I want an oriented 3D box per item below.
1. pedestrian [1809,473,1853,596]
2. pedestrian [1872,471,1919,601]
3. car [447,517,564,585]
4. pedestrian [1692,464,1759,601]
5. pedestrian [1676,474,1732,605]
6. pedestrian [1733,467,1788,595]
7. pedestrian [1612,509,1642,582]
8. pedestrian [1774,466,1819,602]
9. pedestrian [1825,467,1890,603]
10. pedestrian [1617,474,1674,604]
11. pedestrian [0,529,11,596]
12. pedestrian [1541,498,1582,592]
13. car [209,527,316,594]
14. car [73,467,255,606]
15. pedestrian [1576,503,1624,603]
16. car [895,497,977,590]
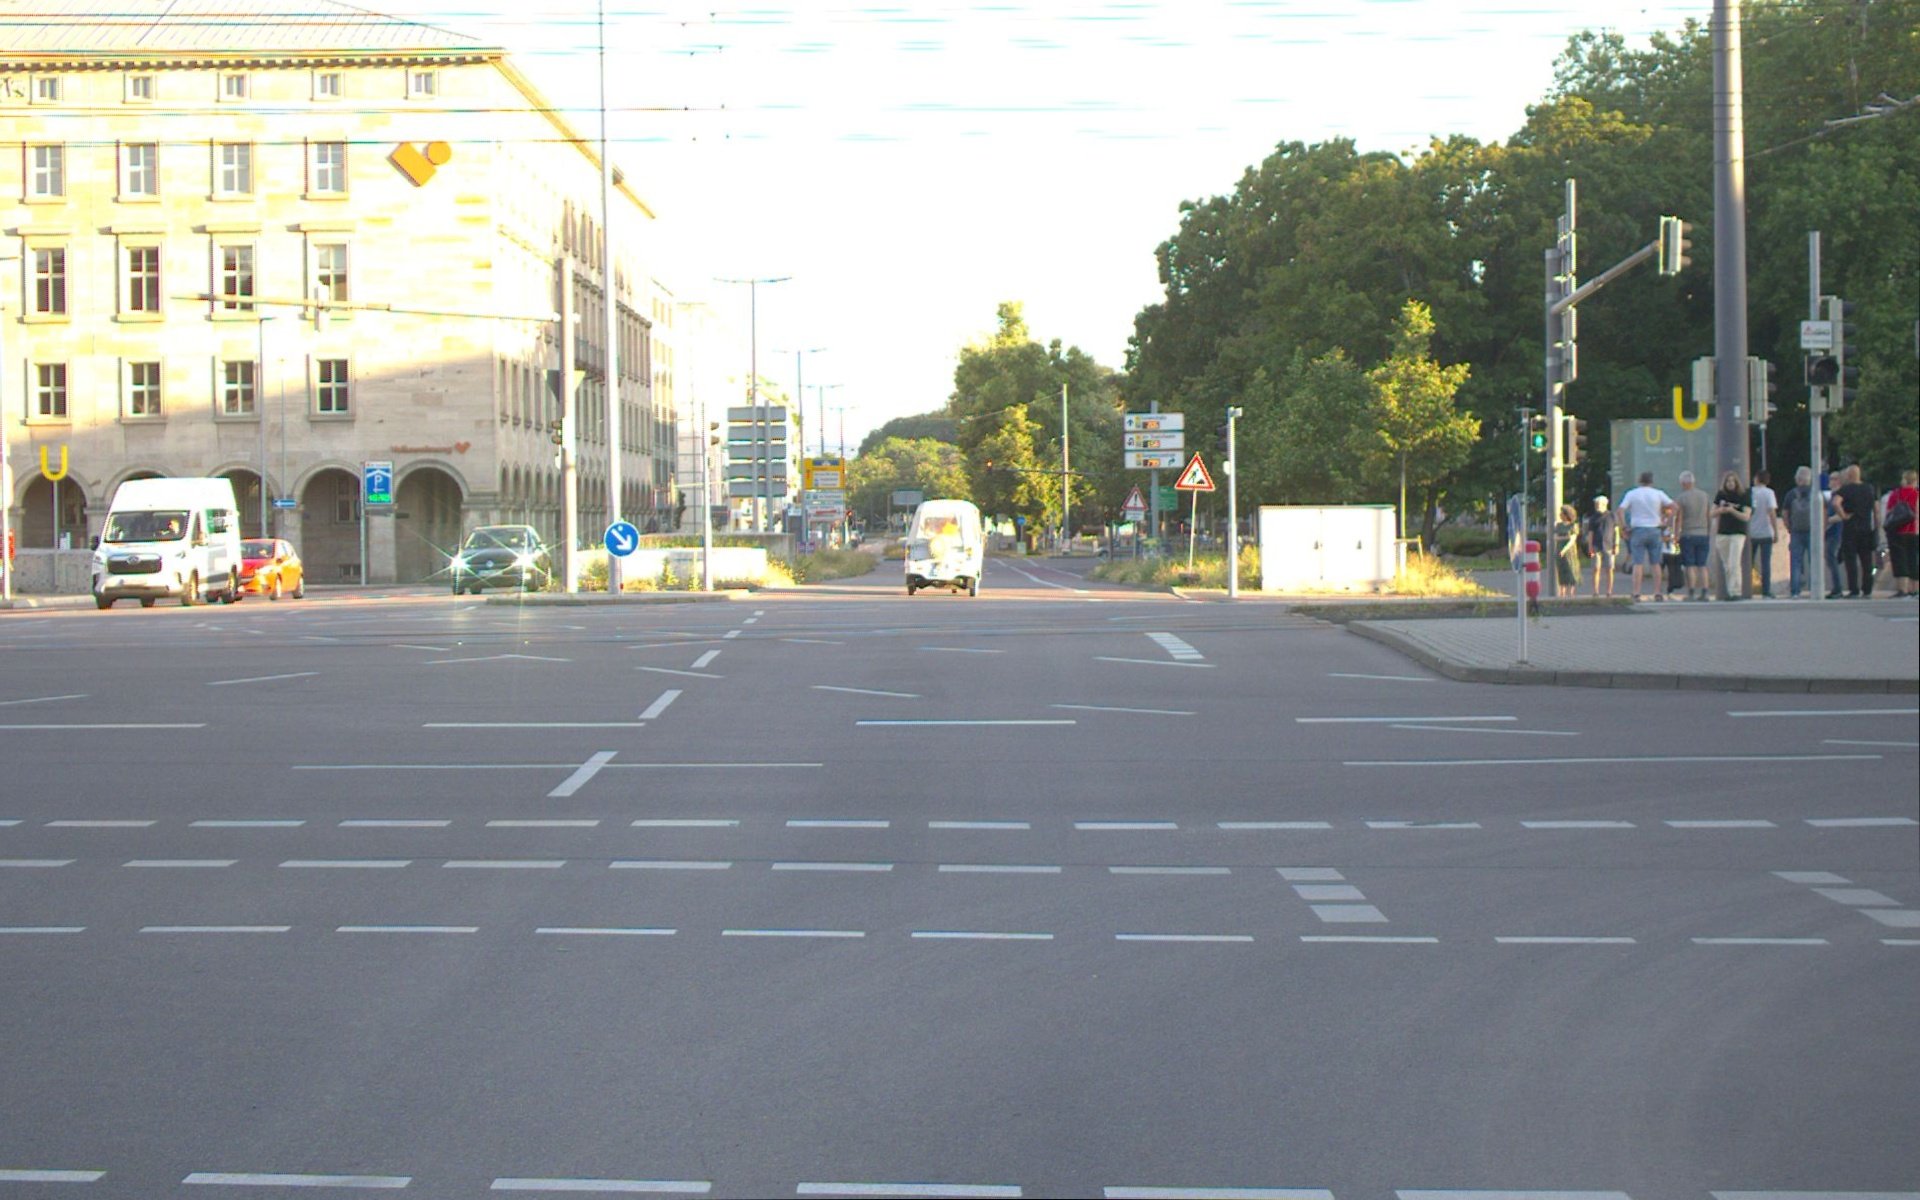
[{"bbox_3d":[11.936,-0.895,47.130,0.572,1.673,0.638,0,2,14],"label":"pedestrian"},{"bbox_3d":[12.668,-0.863,46.012,0.845,1.728,0.705,0,2,12],"label":"pedestrian"},{"bbox_3d":[-9.561,-1.050,72.635,1.823,1.337,4.000,-1,2,2],"label":"car"},{"bbox_3d":[9.711,-0.857,43.601,0.711,1.719,0.914,0,2,20],"label":"pedestrian"},{"bbox_3d":[9.881,-0.804,45.655,0.711,1.719,0.668,0,2,13],"label":"pedestrian"},{"bbox_3d":[10.838,-0.939,46.549,0.711,1.719,0.914,0,2,13],"label":"pedestrian"},{"bbox_3d":[16.948,-1.400,87.393,0.666,1.836,0.713,-1,2,5],"label":"pedestrian"},{"bbox_3d":[11.110,-0.879,45.662,0.572,1.785,0.638,0,2,14],"label":"pedestrian"},{"bbox_3d":[11.917,-0.869,45.665,0.805,1.785,0.800,0,2,14],"label":"pedestrian"},{"bbox_3d":[9.112,-0.815,45.689,0.711,1.719,0.668,0,2,14],"label":"pedestrian"},{"bbox_3d":[-25.168,-0.991,89.861,0.621,1.738,0.460,1,0,-5],"label":"pedestrian"},{"bbox_3d":[10.620,-0.975,60.701,0.560,1.649,0.901,0,2,20],"label":"pedestrian"},{"bbox_3d":[-16.442,-0.951,81.187,1.738,1.482,4.001,-1,2,-1],"label":"car"},{"bbox_3d":[-16.698,-1.361,72.481,2.279,2.766,6.084,-1,2,1],"label":"car"},{"bbox_3d":[11.294,-0.835,60.638,0.680,1.751,0.901,0,2,20],"label":"pedestrian"},{"bbox_3d":[-0.429,-1.078,64.471,1.483,1.690,2.974,-1,2,0],"label":"car"}]
